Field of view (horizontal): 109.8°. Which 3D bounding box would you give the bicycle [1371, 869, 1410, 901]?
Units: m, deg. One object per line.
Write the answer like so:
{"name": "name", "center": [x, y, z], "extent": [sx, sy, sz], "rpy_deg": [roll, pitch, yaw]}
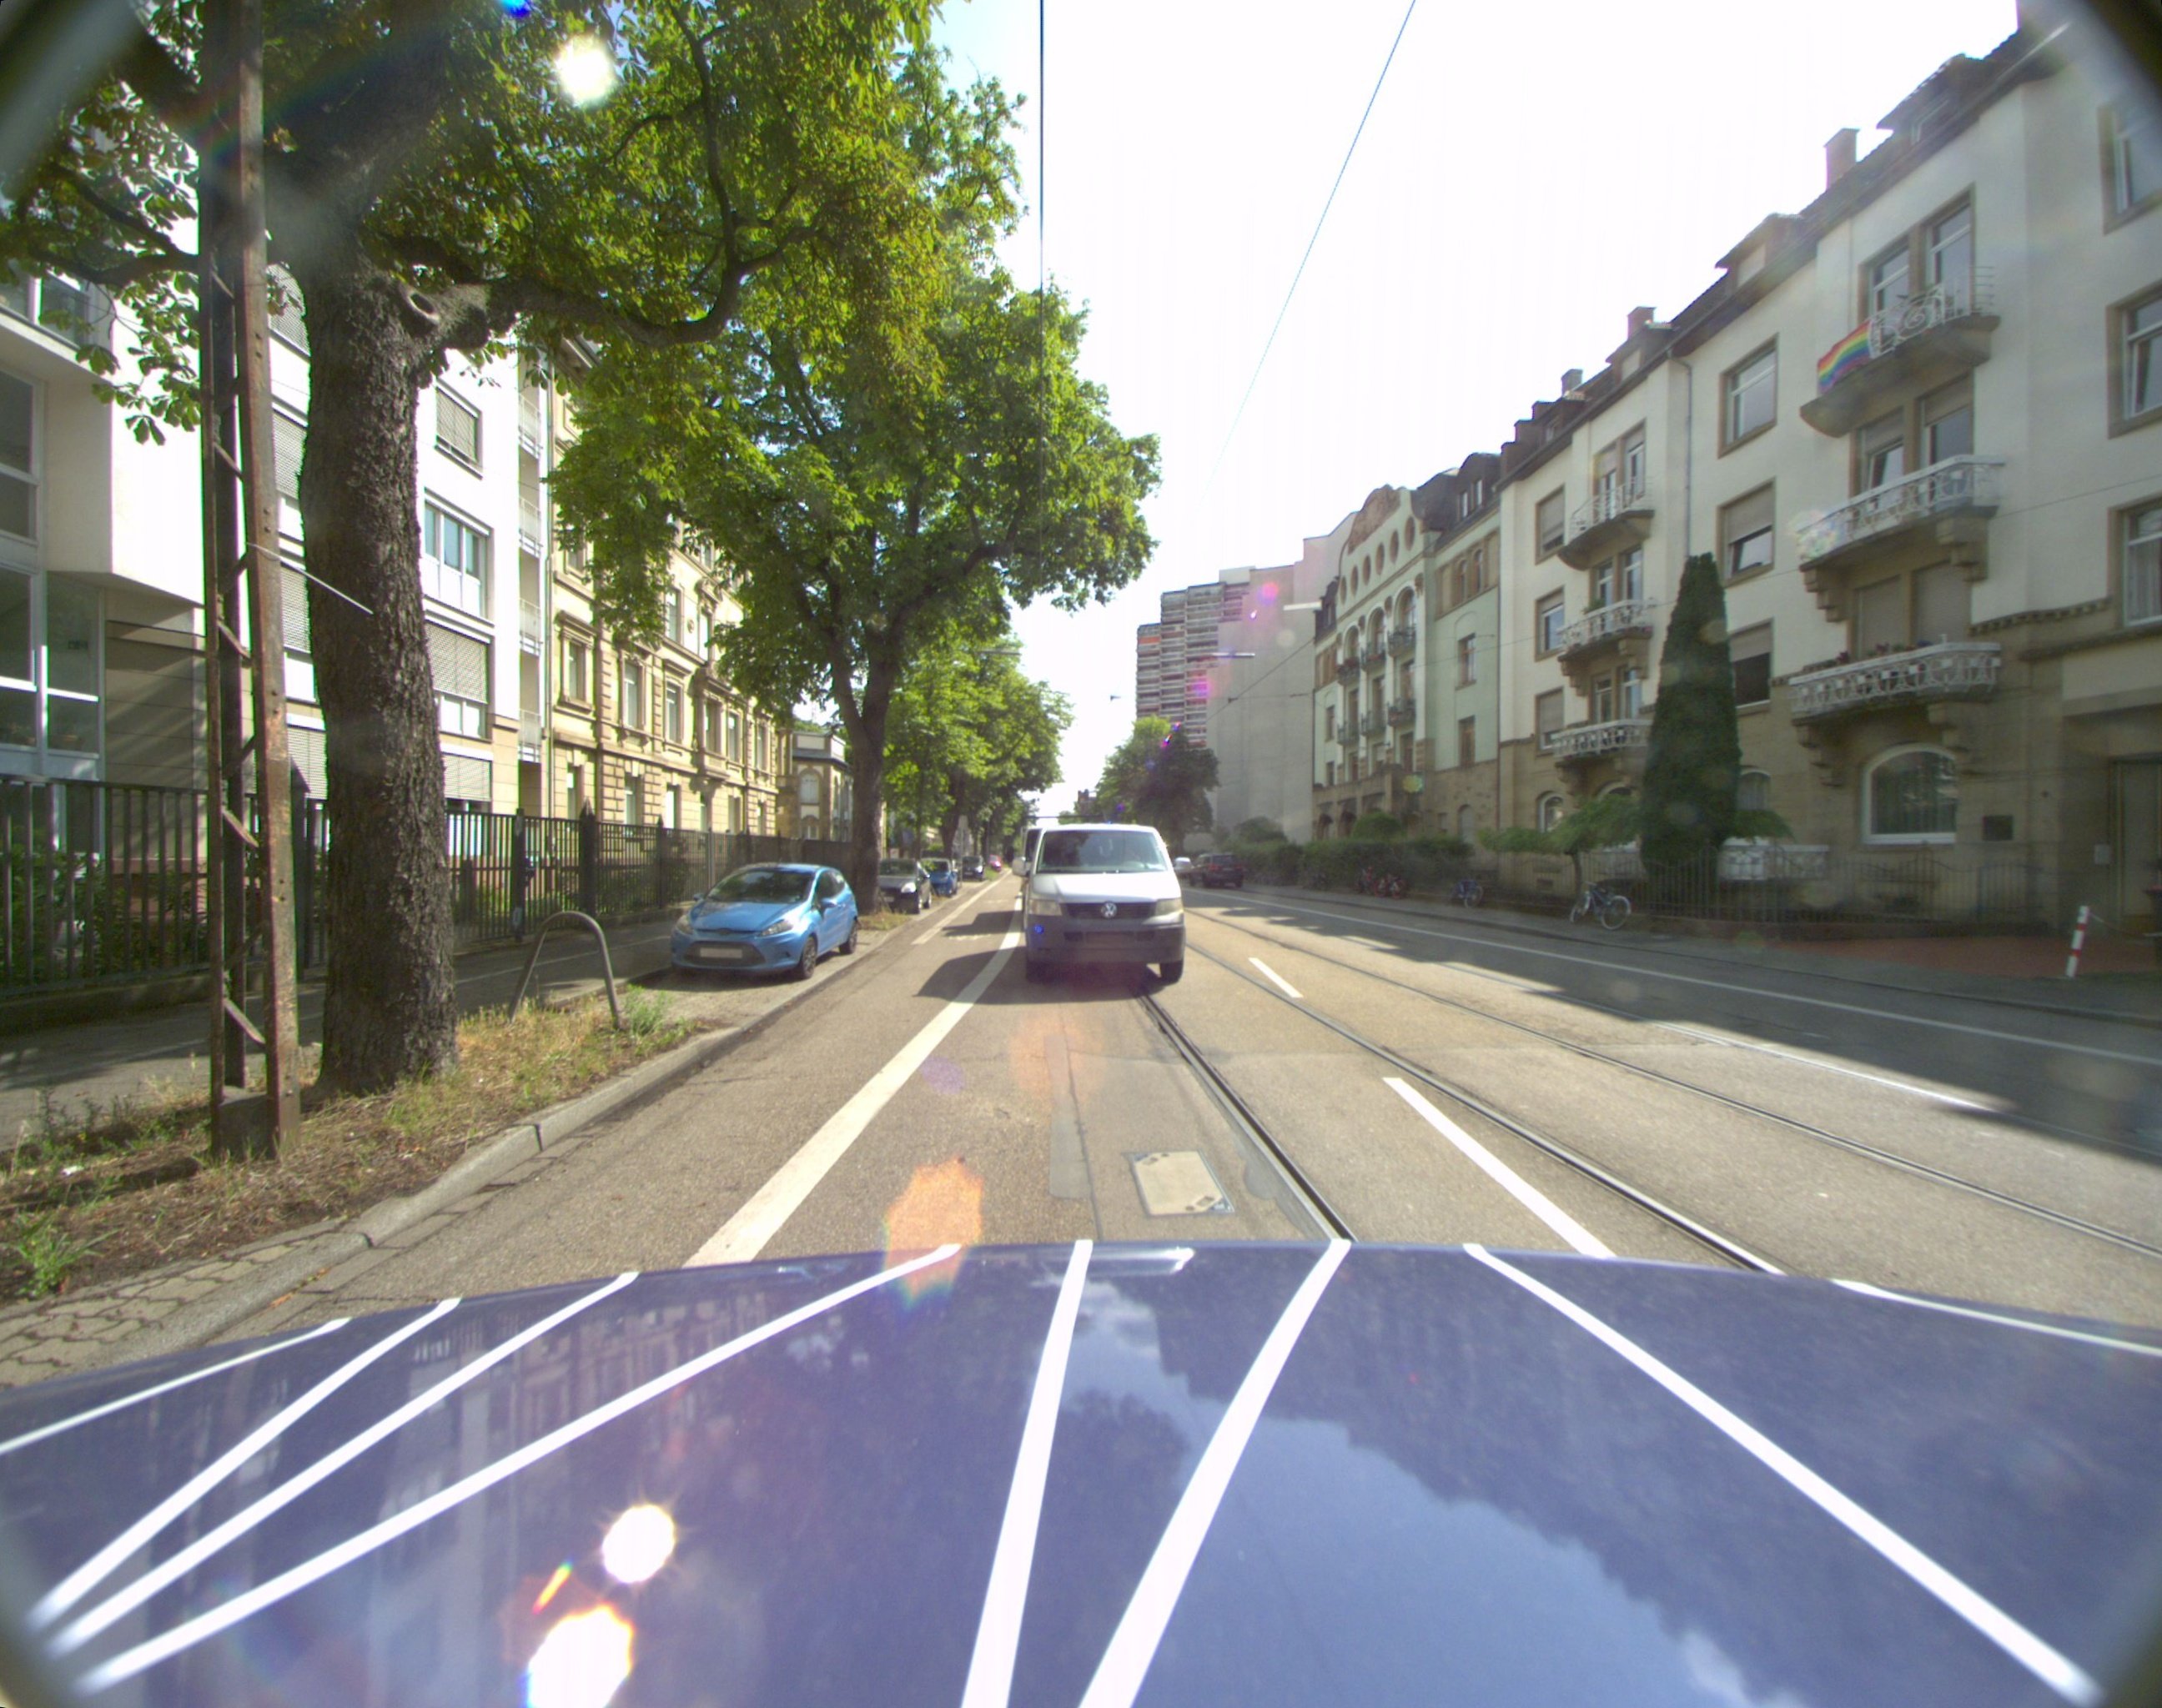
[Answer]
{"name": "bicycle", "center": [10.450, 1.023, 25.699], "extent": [0.587, 0.980, 1.872], "rpy_deg": [0, 1, 1]}

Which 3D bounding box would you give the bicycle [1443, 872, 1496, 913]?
{"name": "bicycle", "center": [10.812, 1.042, 21.214], "extent": [0.539, 1.024, 1.872], "rpy_deg": [0, 1, 1]}

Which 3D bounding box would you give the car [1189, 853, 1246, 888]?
{"name": "car", "center": [6.824, 0.781, 38.453], "extent": [1.797, 1.701, 4.329], "rpy_deg": [0, 0, -4]}

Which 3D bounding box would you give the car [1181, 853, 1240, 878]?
{"name": "car", "center": [8.763, 0.770, 51.562], "extent": [3.631, 1.630, 1.610], "rpy_deg": [0, 1, -3]}

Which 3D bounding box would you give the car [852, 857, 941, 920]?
{"name": "car", "center": [-5.023, 0.892, 21.112], "extent": [1.644, 1.499, 3.621], "rpy_deg": [2, 0, -2]}

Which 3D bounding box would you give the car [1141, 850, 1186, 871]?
{"name": "car", "center": [7.679, 0.602, 70.709], "extent": [3.997, 1.914, 1.830], "rpy_deg": [0, 0, -1]}

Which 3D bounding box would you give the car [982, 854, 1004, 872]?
{"name": "car", "center": [-8.179, 0.819, 70.913], "extent": [1.774, 1.563, 4.198], "rpy_deg": [2, 0, -3]}

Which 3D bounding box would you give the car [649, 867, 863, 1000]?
{"name": "car", "center": [-4.369, 0.977, 10.829], "extent": [1.642, 1.447, 3.697], "rpy_deg": [2, 0, -4]}

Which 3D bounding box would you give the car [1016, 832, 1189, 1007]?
{"name": "car", "center": [0.222, 0.689, 10.546], "extent": [1.831, 1.856, 4.845], "rpy_deg": [-1, 0, 0]}

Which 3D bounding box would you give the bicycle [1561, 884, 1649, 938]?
{"name": "bicycle", "center": [11.004, 1.164, 16.036], "extent": [0.524, 0.901, 2.067], "rpy_deg": [0, 2, 4]}

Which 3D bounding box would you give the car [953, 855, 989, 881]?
{"name": "car", "center": [-6.899, 0.838, 48.083], "extent": [1.774, 1.522, 4.198], "rpy_deg": [2, 0, -3]}

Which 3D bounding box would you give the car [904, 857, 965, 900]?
{"name": "car", "center": [-5.558, 0.886, 29.222], "extent": [1.724, 1.443, 3.924], "rpy_deg": [2, 0, -3]}

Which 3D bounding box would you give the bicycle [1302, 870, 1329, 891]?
{"name": "bicycle", "center": [9.800, 1.100, 31.824], "extent": [0.587, 0.792, 1.872], "rpy_deg": [-2, 1, 1]}

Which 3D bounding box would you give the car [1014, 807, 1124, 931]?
{"name": "car", "center": [-0.485, 0.294, 18.667], "extent": [2.169, 2.572, 5.660], "rpy_deg": [0, 0, -6]}

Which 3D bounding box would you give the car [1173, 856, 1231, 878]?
{"name": "car", "center": [8.629, 0.926, 54.489], "extent": [3.890, 1.527, 1.634], "rpy_deg": [0, 0, -2]}

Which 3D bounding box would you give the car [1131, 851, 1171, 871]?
{"name": "car", "center": [6.747, 0.665, 73.954], "extent": [3.663, 1.832, 1.735], "rpy_deg": [0, 0, -3]}
